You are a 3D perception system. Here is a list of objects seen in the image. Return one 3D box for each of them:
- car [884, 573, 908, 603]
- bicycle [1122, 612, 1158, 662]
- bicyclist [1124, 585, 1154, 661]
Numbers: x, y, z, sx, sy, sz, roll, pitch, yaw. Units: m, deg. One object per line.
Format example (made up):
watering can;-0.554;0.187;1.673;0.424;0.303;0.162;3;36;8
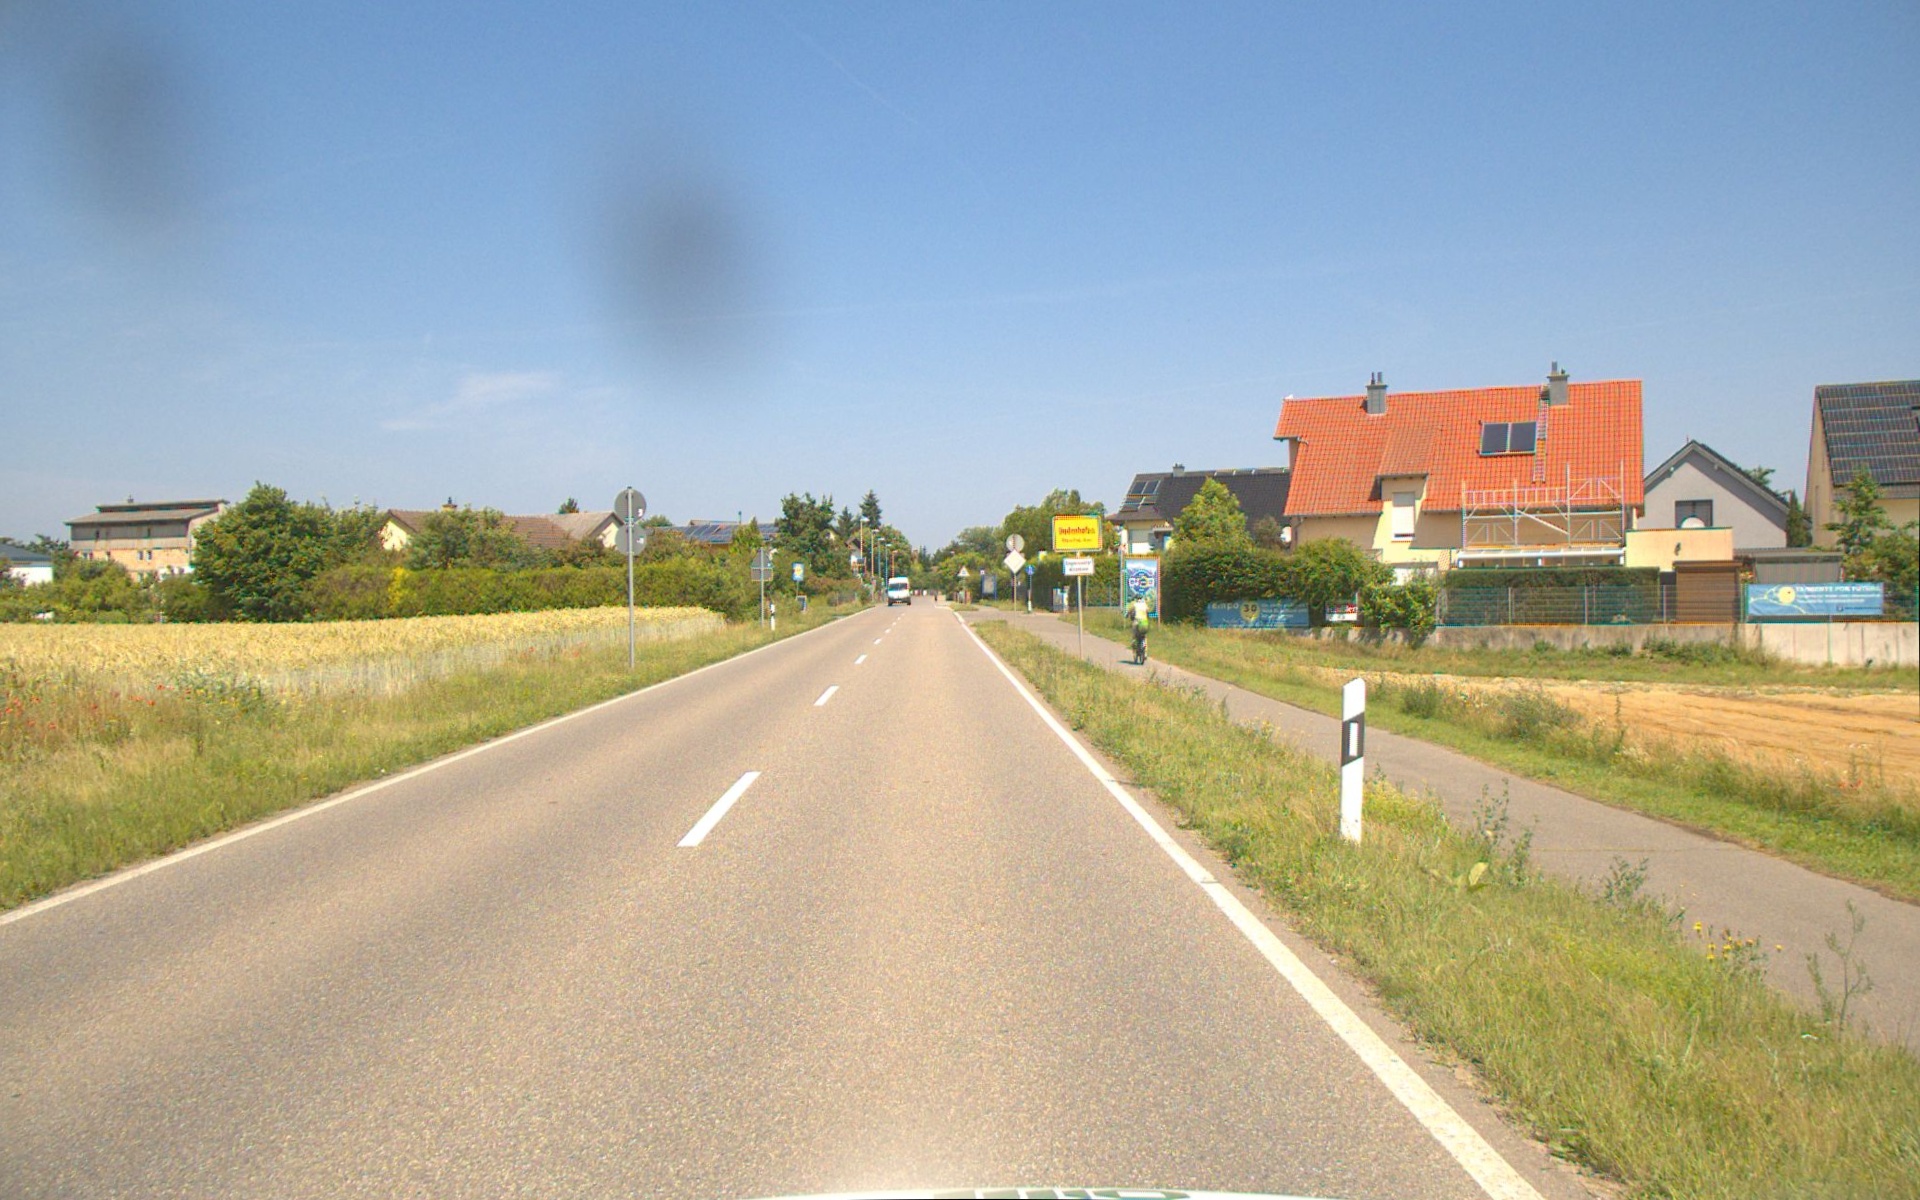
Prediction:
car;-5.739;-1.107;148.690;2.035;2.586;5.872;-2;1;-2
bicycle;4.634;0.945;42.737;0.598;1.179;2.274;1;1;-2
bicyclist;4.628;0.581;42.783;0.632;1.922;0.860;1;1;-2
